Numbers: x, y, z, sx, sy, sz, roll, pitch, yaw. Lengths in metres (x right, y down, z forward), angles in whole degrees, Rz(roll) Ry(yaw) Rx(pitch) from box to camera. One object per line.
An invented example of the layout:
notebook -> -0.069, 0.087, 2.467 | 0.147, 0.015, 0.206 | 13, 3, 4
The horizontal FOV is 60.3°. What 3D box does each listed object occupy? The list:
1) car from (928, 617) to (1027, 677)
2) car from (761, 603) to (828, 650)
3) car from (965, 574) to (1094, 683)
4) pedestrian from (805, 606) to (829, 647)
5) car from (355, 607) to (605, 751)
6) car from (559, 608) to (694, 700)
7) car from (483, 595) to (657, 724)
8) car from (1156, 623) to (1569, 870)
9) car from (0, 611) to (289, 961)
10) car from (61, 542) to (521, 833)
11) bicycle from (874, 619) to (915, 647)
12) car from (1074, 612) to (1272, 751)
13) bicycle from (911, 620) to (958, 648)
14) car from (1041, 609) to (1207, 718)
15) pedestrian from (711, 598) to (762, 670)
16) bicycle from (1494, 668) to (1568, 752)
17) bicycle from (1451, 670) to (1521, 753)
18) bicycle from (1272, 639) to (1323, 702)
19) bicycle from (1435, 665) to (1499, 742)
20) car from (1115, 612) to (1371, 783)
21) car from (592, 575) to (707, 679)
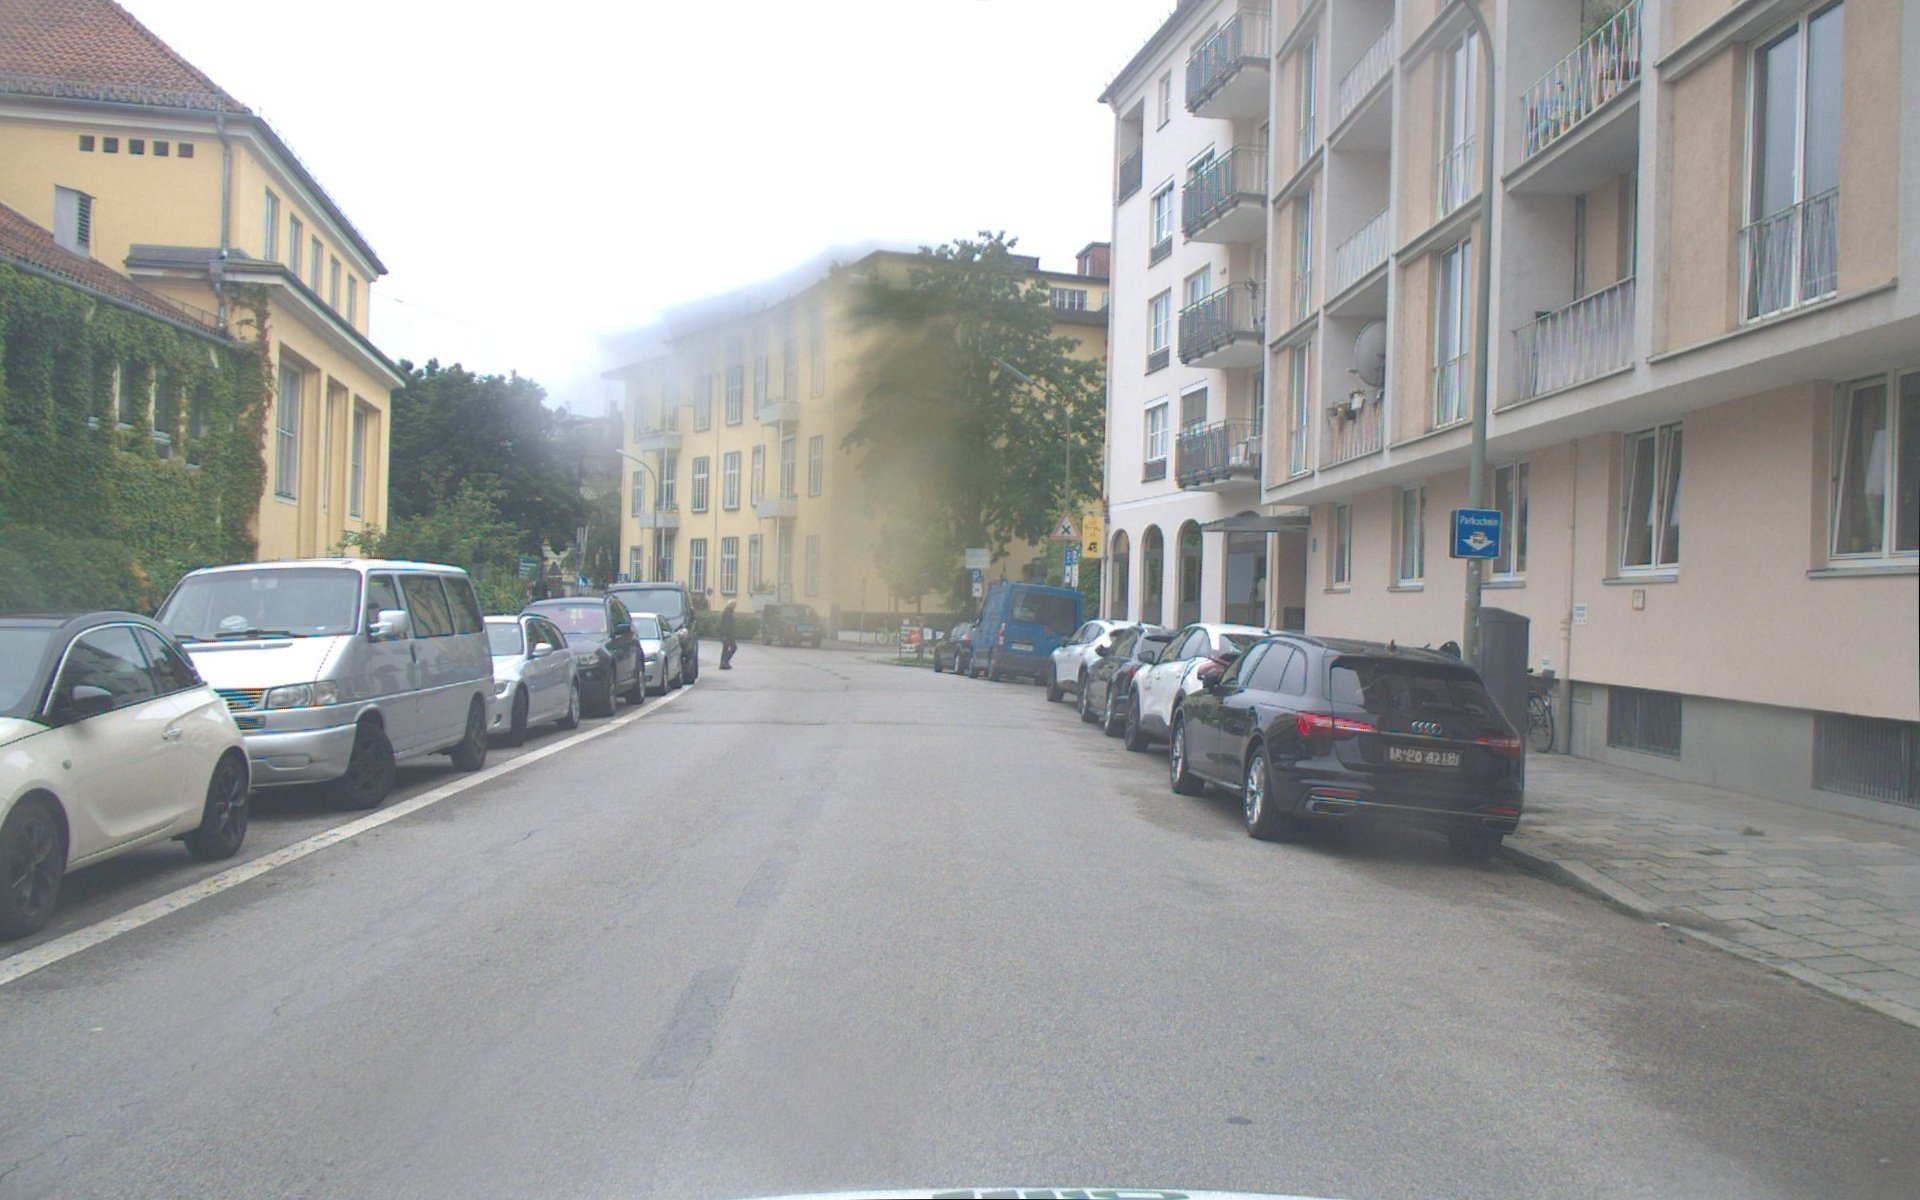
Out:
car -> 0.436, 1.274, 46.224 | 1.649, 1.413, 4.290 | 6, -1, -14
car -> -7.673, 1.196, 76.327 | 1.739, 1.907, 4.347 | 6, -2, -23
car -> 1.601, 0.745, 40.123 | 2.041, 2.272, 5.234 | 6, -3, -8
pedestrian -> -6.630, 1.203, 76.576 | 0.862, 1.855, 0.793 | 2, -1, -23
car -> -5.455, 0.824, 19.427 | 1.620, 1.439, 4.769 | -2, 0, -1
car -> -5.853, 0.894, 29.481 | 1.661, 1.417, 4.498 | -3, 0, -3
car -> -5.586, 0.797, 24.184 | 1.663, 1.671, 4.487 | -1, 0, -3
car -> 2.906, 0.987, 13.170 | 1.711, 1.412, 4.950 | 5, 0, -4
car -> -4.929, 0.809, 8.443 | 1.559, 1.466, 4.016 | -1, 0, -3
car -> -5.150, 0.603, 13.550 | 1.849, 1.923, 4.773 | -1, 0, -1
bicycle -> -3.072, 1.555, 77.454 | 1.889, 1.222, 0.593 | 2, -1, 35
car -> 2.827, 1.033, 23.146 | 1.842, 1.548, 5.161 | 5, 0, -2
bicycle -> -1.178, 1.564, 76.341 | 2.023, 1.222, 0.596 | 2, -1, 12
car -> 2.712, 1.022, 28.474 | 1.752, 1.560, 4.640 | 5, -1, -7
pedestrian -> -5.847, 0.888, 43.206 | 0.919, 1.832, 0.951 | -1, -2, 42
bicycle -> 6.927, 1.314, 20.101 | 0.370, 0.921, 1.391 | 2, 0, -1
bicycle -> 6.493, 1.360, 20.456 | 0.370, 0.921, 1.391 | 2, 0, -1
bicycle -> 6.486, 1.341, 31.880 | 0.446, 1.130, 1.852 | 2, 0, -5
bicycle -> 6.687, 1.356, 21.865 | 0.370, 0.921, 1.391 | 2, 0, -1
car -> 2.928, 0.950, 18.115 | 1.661, 1.515, 4.576 | 4, 0, -4
car -> -6.413, 0.543, 34.713 | 2.034, 1.998, 5.341 | -1, -1, -7
